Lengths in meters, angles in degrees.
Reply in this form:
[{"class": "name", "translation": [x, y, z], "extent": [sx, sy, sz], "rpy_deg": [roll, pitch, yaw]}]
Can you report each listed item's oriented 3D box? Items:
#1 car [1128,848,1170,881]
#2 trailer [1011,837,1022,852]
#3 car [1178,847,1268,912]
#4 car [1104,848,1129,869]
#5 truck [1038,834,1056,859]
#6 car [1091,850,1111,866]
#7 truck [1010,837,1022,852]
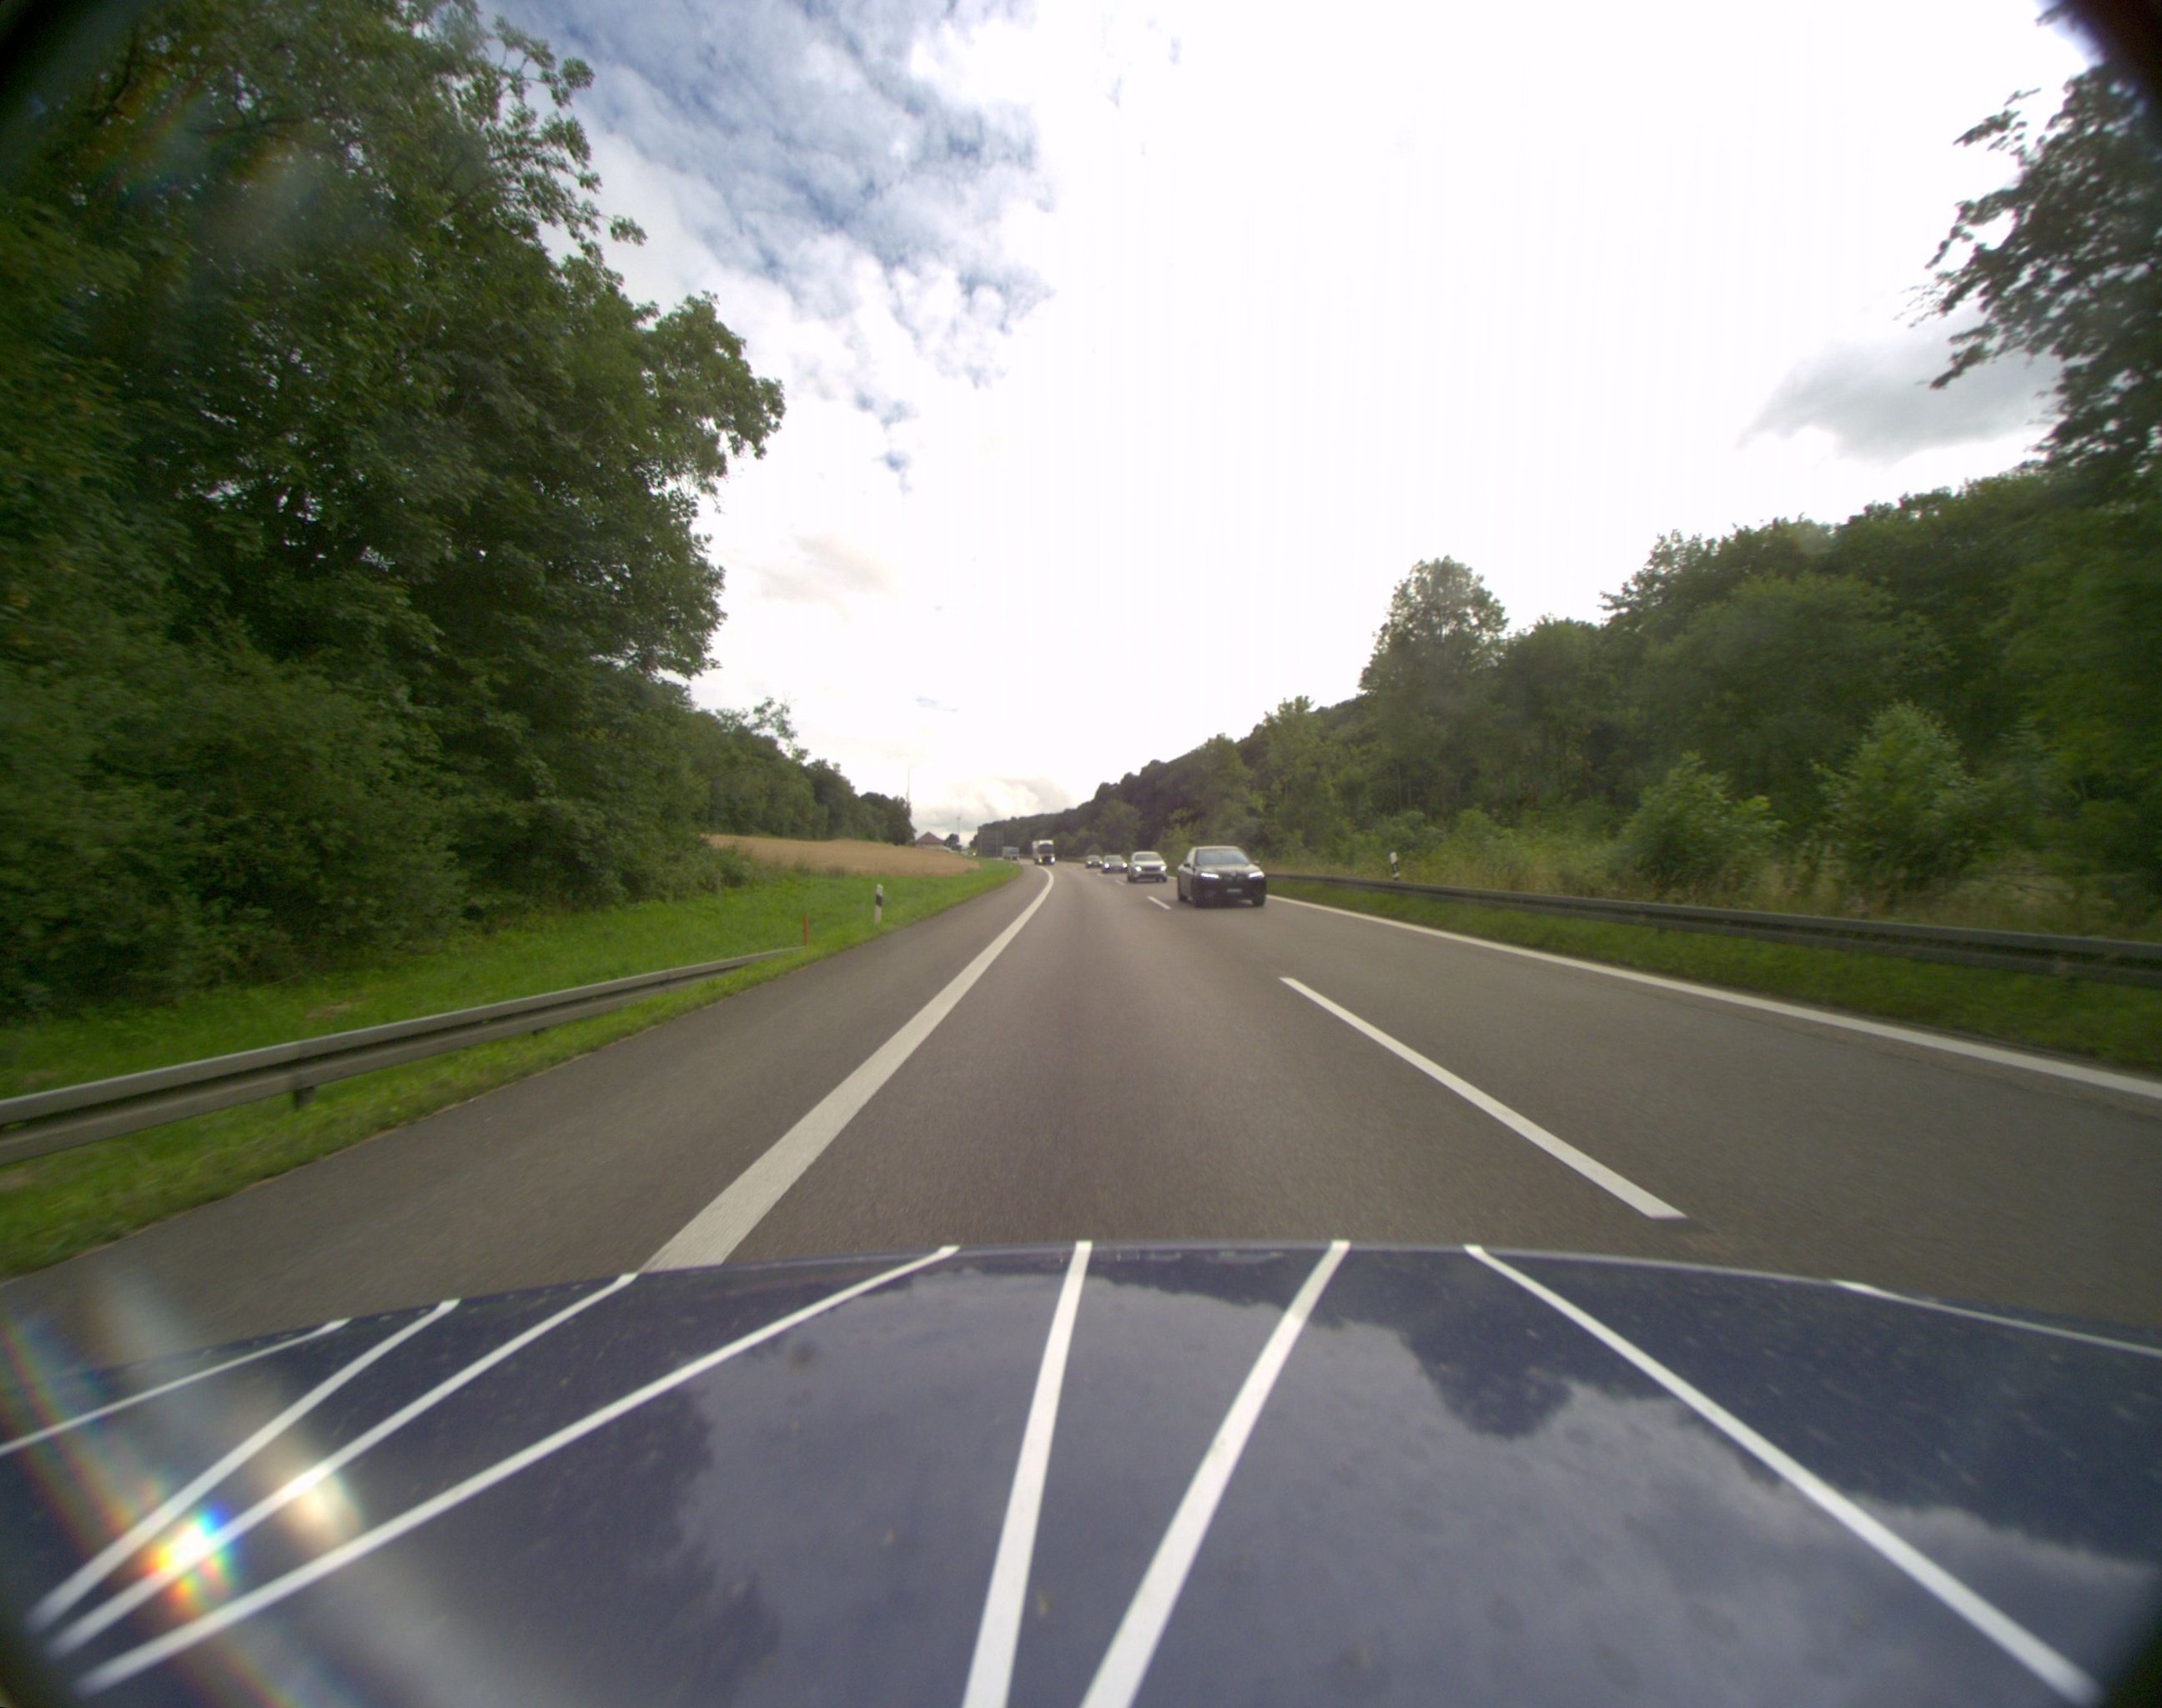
[{"class": "car", "translation": [3.724, 0.522, 42.075], "extent": [1.998, 1.656, 4.414], "rpy_deg": [-1, 1, 1]}, {"class": "trailer", "translation": [-17.879, -2.702, 211.274], "extent": [2.787, 3.932, 11.290], "rpy_deg": [-1, 1, -4]}, {"class": "car", "translation": [4.061, 0.658, 22.438], "extent": [1.998, 1.656, 4.415], "rpy_deg": [-2, 1, 3]}, {"class": "car", "translation": [2.919, 0.364, 64.109], "extent": [1.998, 1.656, 4.415], "rpy_deg": [-1, 1, 2]}, {"class": "truck", "translation": [-5.498, -1.270, 124.373], "extent": [2.796, 3.949, 5.937], "rpy_deg": [-1, 1, -3]}, {"class": "car", "translation": [2.201, 0.410, 85.203], "extent": [1.999, 1.656, 4.413], "rpy_deg": [-1, 2, -1]}, {"class": "truck", "translation": [-17.476, -2.639, 204.847], "extent": [2.796, 3.949, 5.937], "rpy_deg": [-1, 1, -3]}]
